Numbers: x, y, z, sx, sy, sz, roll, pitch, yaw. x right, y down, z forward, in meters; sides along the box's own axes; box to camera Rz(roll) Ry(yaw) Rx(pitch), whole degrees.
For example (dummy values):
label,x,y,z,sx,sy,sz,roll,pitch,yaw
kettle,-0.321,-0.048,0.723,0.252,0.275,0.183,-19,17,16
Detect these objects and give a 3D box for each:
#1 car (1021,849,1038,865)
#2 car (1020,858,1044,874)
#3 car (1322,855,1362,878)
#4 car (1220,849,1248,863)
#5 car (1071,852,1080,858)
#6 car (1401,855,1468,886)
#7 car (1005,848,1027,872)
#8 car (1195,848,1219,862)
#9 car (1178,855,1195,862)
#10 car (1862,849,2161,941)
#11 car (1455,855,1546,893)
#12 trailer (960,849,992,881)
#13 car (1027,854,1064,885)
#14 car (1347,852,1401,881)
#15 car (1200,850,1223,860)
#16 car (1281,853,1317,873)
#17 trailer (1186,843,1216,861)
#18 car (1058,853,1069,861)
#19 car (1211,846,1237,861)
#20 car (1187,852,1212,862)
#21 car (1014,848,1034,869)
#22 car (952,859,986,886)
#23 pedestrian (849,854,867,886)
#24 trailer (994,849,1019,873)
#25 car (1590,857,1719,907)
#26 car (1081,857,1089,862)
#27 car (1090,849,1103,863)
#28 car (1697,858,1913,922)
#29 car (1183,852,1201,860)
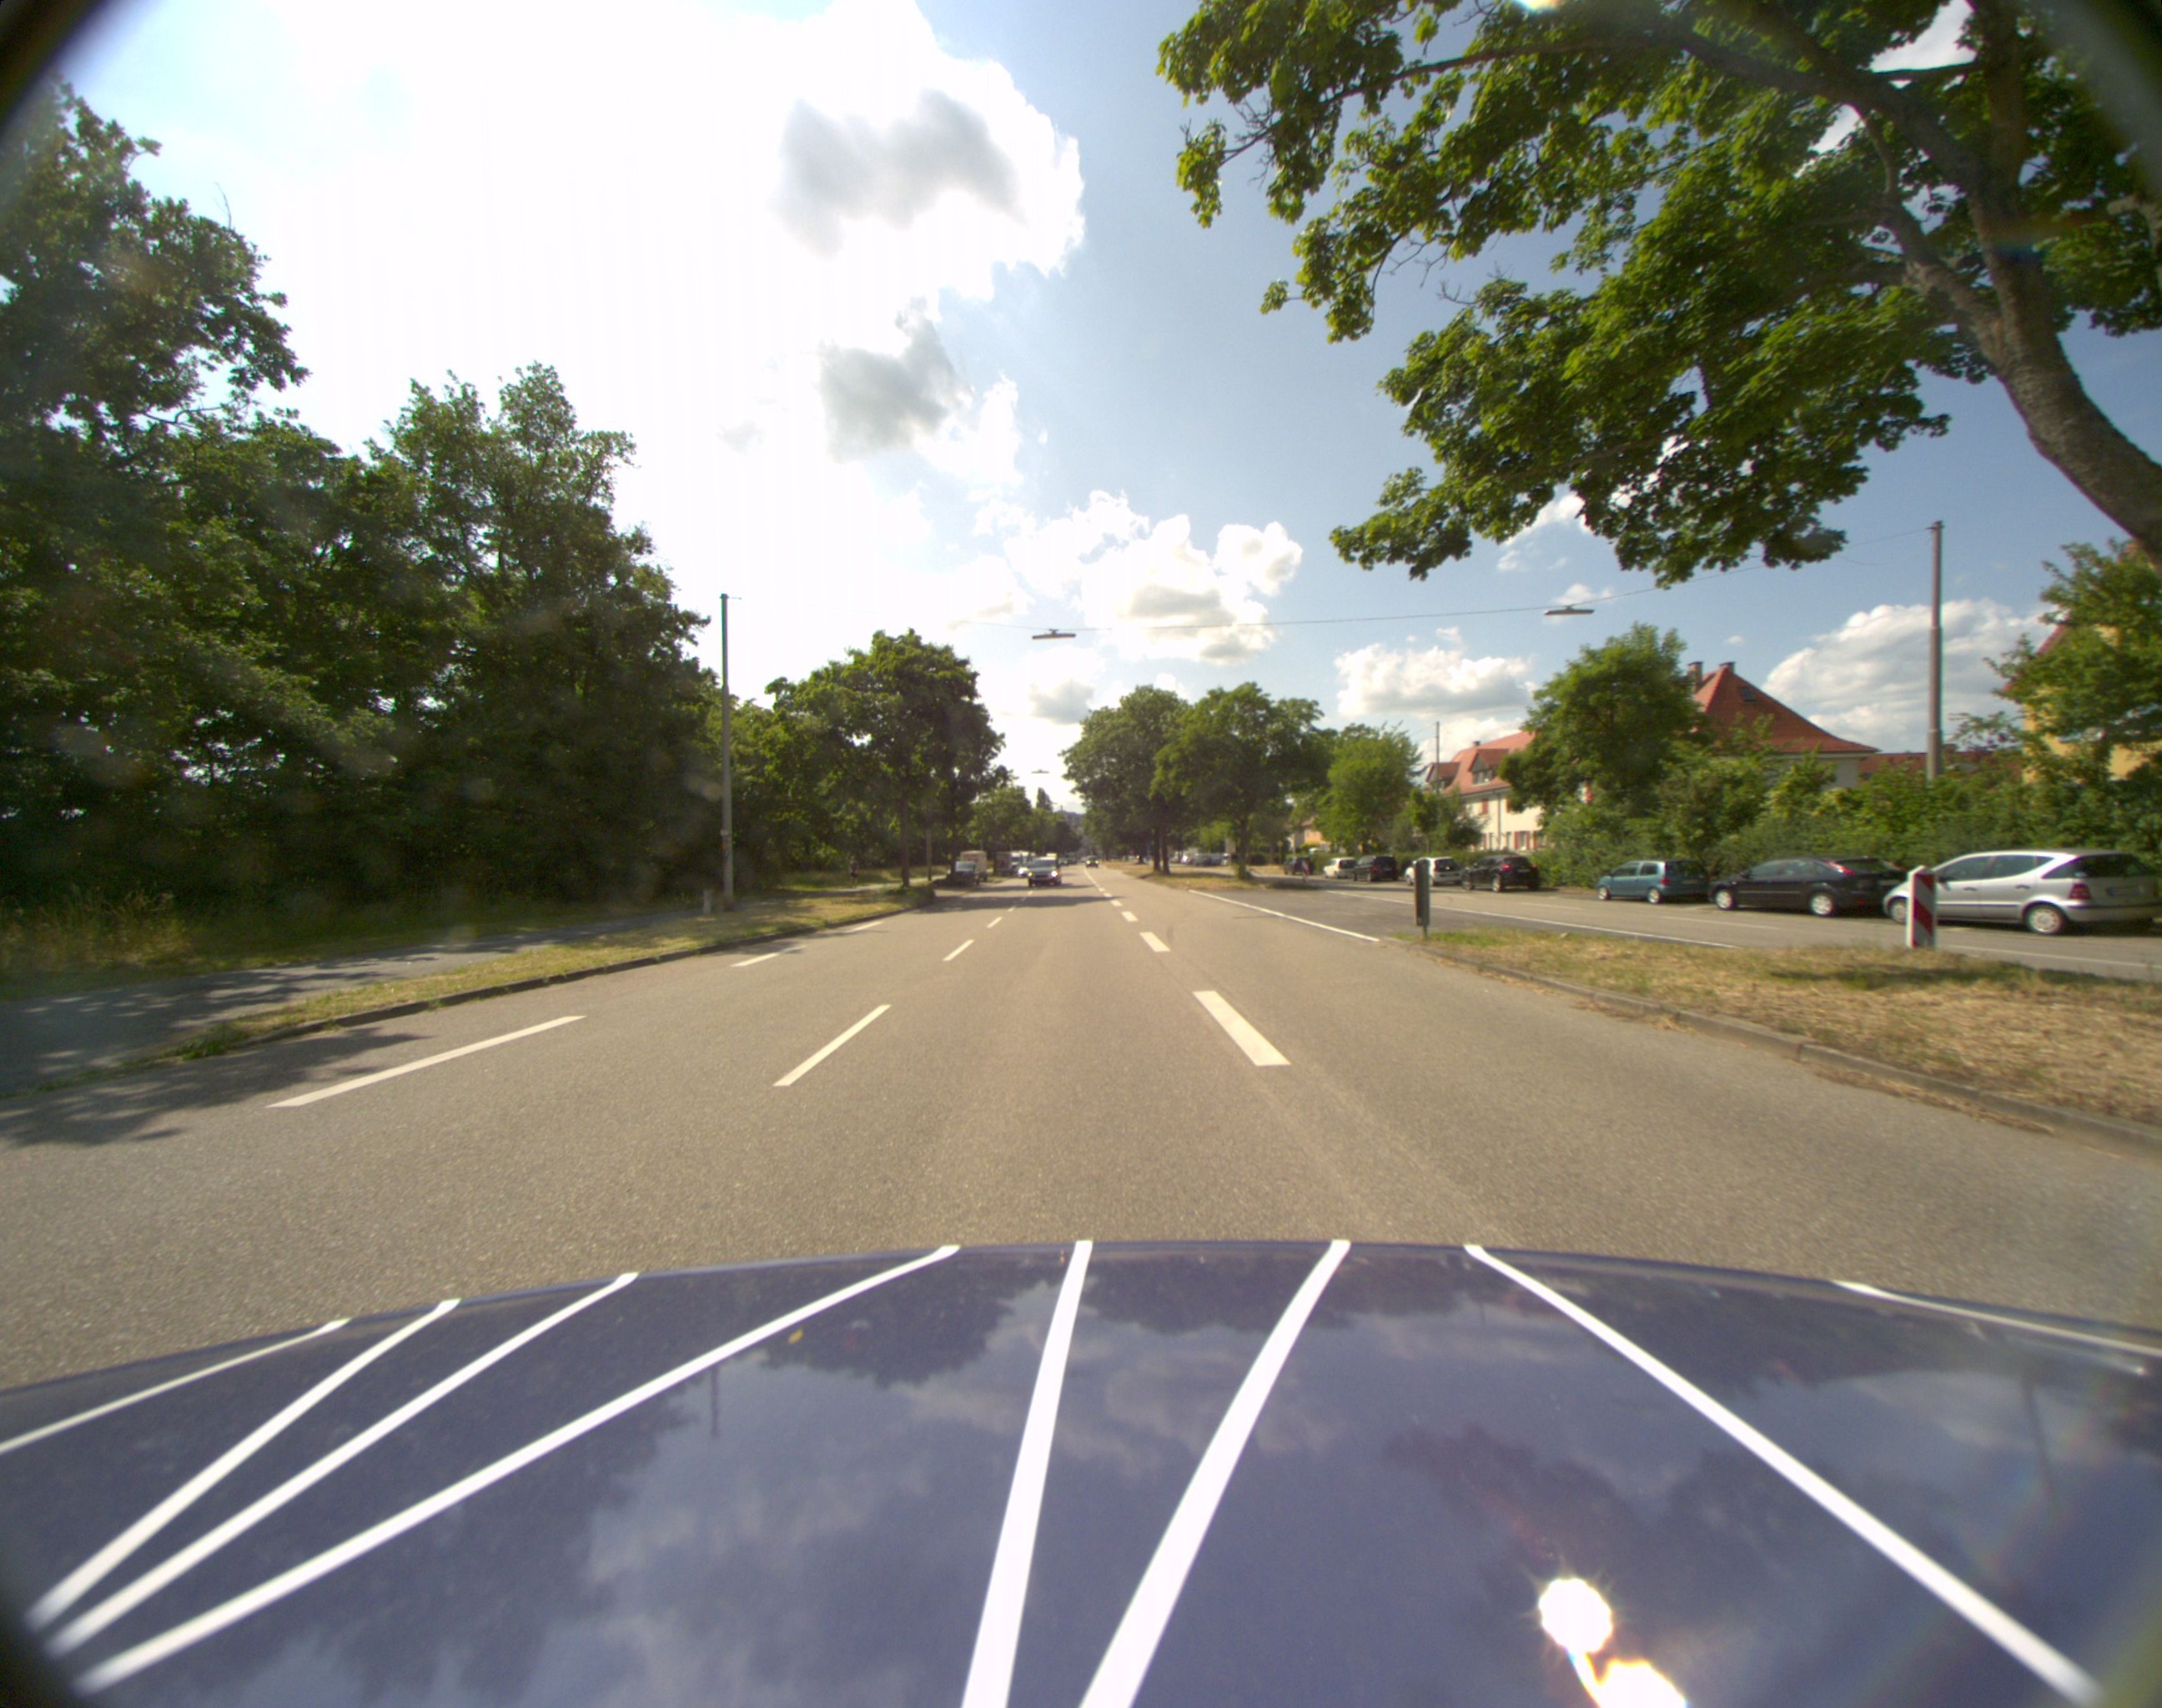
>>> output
label,x,y,z,sx,sy,sz,roll,pitch,yaw
car,-8.202,0.430,120.832,2.262,2.526,6.767,1,1,-1
car,-4.402,1.070,69.184,1.892,1.281,3.999,-3,1,-1
car,18.632,0.853,54.402,1.598,1.452,3.534,-3,1,-1
car,21.689,0.331,107.750,4.008,1.849,1.800,-2,0,-42
car,-1.145,0.223,164.593,1.892,1.281,3.999,-3,1,-1
car,18.765,0.843,40.493,1.664,1.443,3.846,-3,1,-1
car,-7.932,0.702,93.291,2.181,2.680,6.150,-3,1,-1
car,20.936,0.125,126.191,4.007,2.002,1.800,-4,1,-42
car,22.505,0.964,161.756,1.668,1.341,3.827,-2,1,42
car,18.386,0.719,15.304,1.406,1.548,3.742,-3,0,0
car,18.453,0.852,33.641,1.664,1.472,4.103,-3,0,-1
trailer,-8.013,0.782,58.304,1.958,2.338,4.605,0,0,-1
car,-2.199,0.942,47.998,1.935,1.774,4.716,-3,0,1
car,18.497,0.739,48.108,1.664,1.603,4.313,-3,1,-1
car,21.225,0.177,123.617,4.007,1.390,1.569,-4,1,-42
car,18.654,0.719,65.198,1.772,1.543,3.999,-3,1,-1
trailer,22.633,-0.456,143.041,2.820,3.090,5.764,-3,0,38
car,-3.300,0.563,143.837,1.892,1.281,3.999,-3,1,-1
car,22.103,-0.052,117.318,4.007,2.002,1.800,-4,1,-42
car,20.363,0.544,131.038,3.997,1.501,1.800,-3,1,1
car,-8.000,0.577,107.146,2.262,2.786,6.767,1,1,-1
car,-7.605,1.239,51.962,1.595,1.681,4.361,0,1,0
pedestrian,-12.542,0.886,42.705,0.719,1.783,0.740,-3,1,-1
trailer,-7.771,0.675,79.128,1.998,2.352,4.781,3,1,0
car,18.597,0.846,24.826,1.566,1.387,3.477,-3,1,0
car,1.080,1.450,204.422,1.798,1.501,4.000,-1,0,2
car,2.299,0.308,113.601,1.768,1.893,4.541,-3,1,2
car,18.386,0.834,19.626,1.406,1.386,4.357,-3,0,0
car,22.514,0.425,153.613,1.668,1.455,3.827,-2,1,42
